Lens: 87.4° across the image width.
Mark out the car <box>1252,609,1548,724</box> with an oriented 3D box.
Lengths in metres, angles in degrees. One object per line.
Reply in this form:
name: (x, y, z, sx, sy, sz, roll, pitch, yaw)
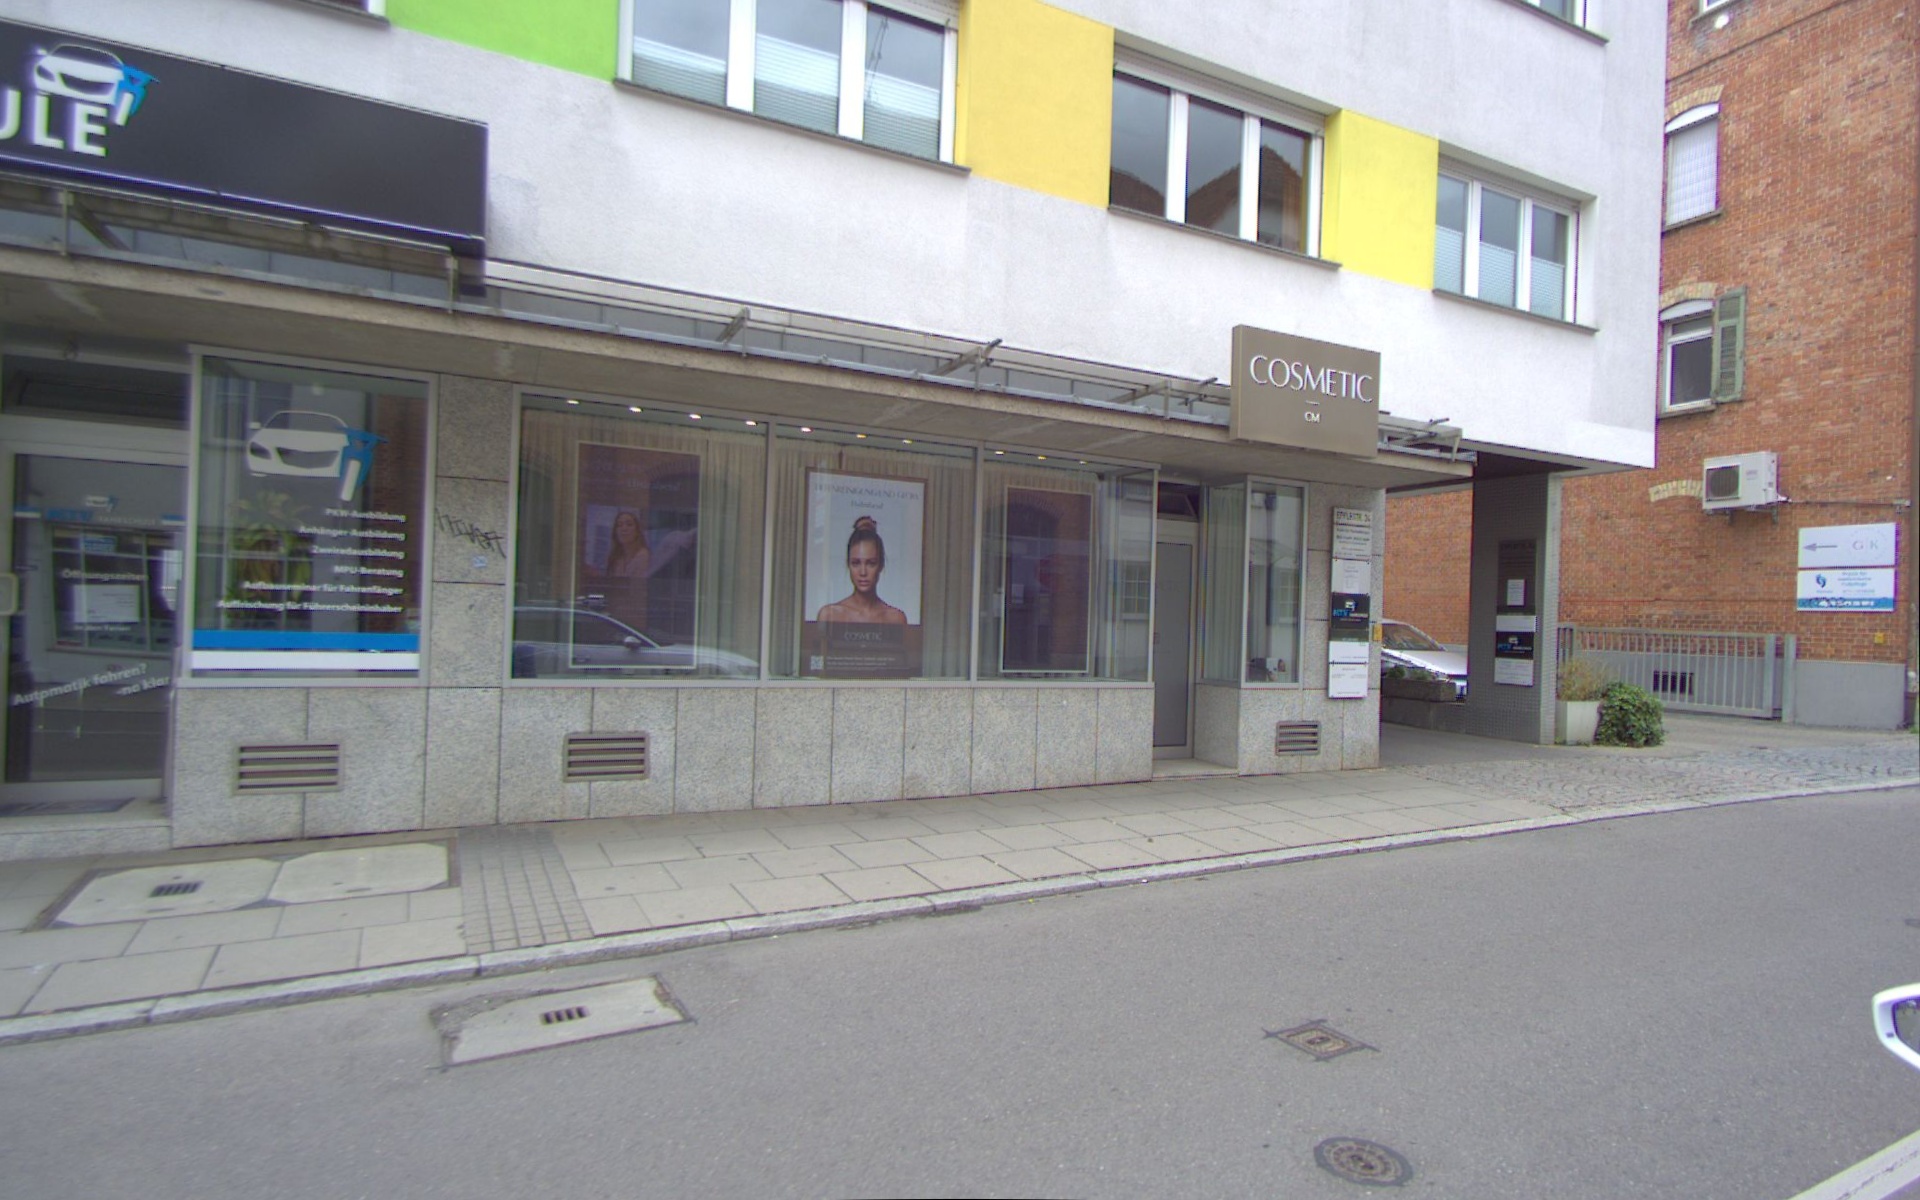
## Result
car: (6.854, 0.946, 16.081, 1.976, 1.550, 3.970, 1, 0, -29)
